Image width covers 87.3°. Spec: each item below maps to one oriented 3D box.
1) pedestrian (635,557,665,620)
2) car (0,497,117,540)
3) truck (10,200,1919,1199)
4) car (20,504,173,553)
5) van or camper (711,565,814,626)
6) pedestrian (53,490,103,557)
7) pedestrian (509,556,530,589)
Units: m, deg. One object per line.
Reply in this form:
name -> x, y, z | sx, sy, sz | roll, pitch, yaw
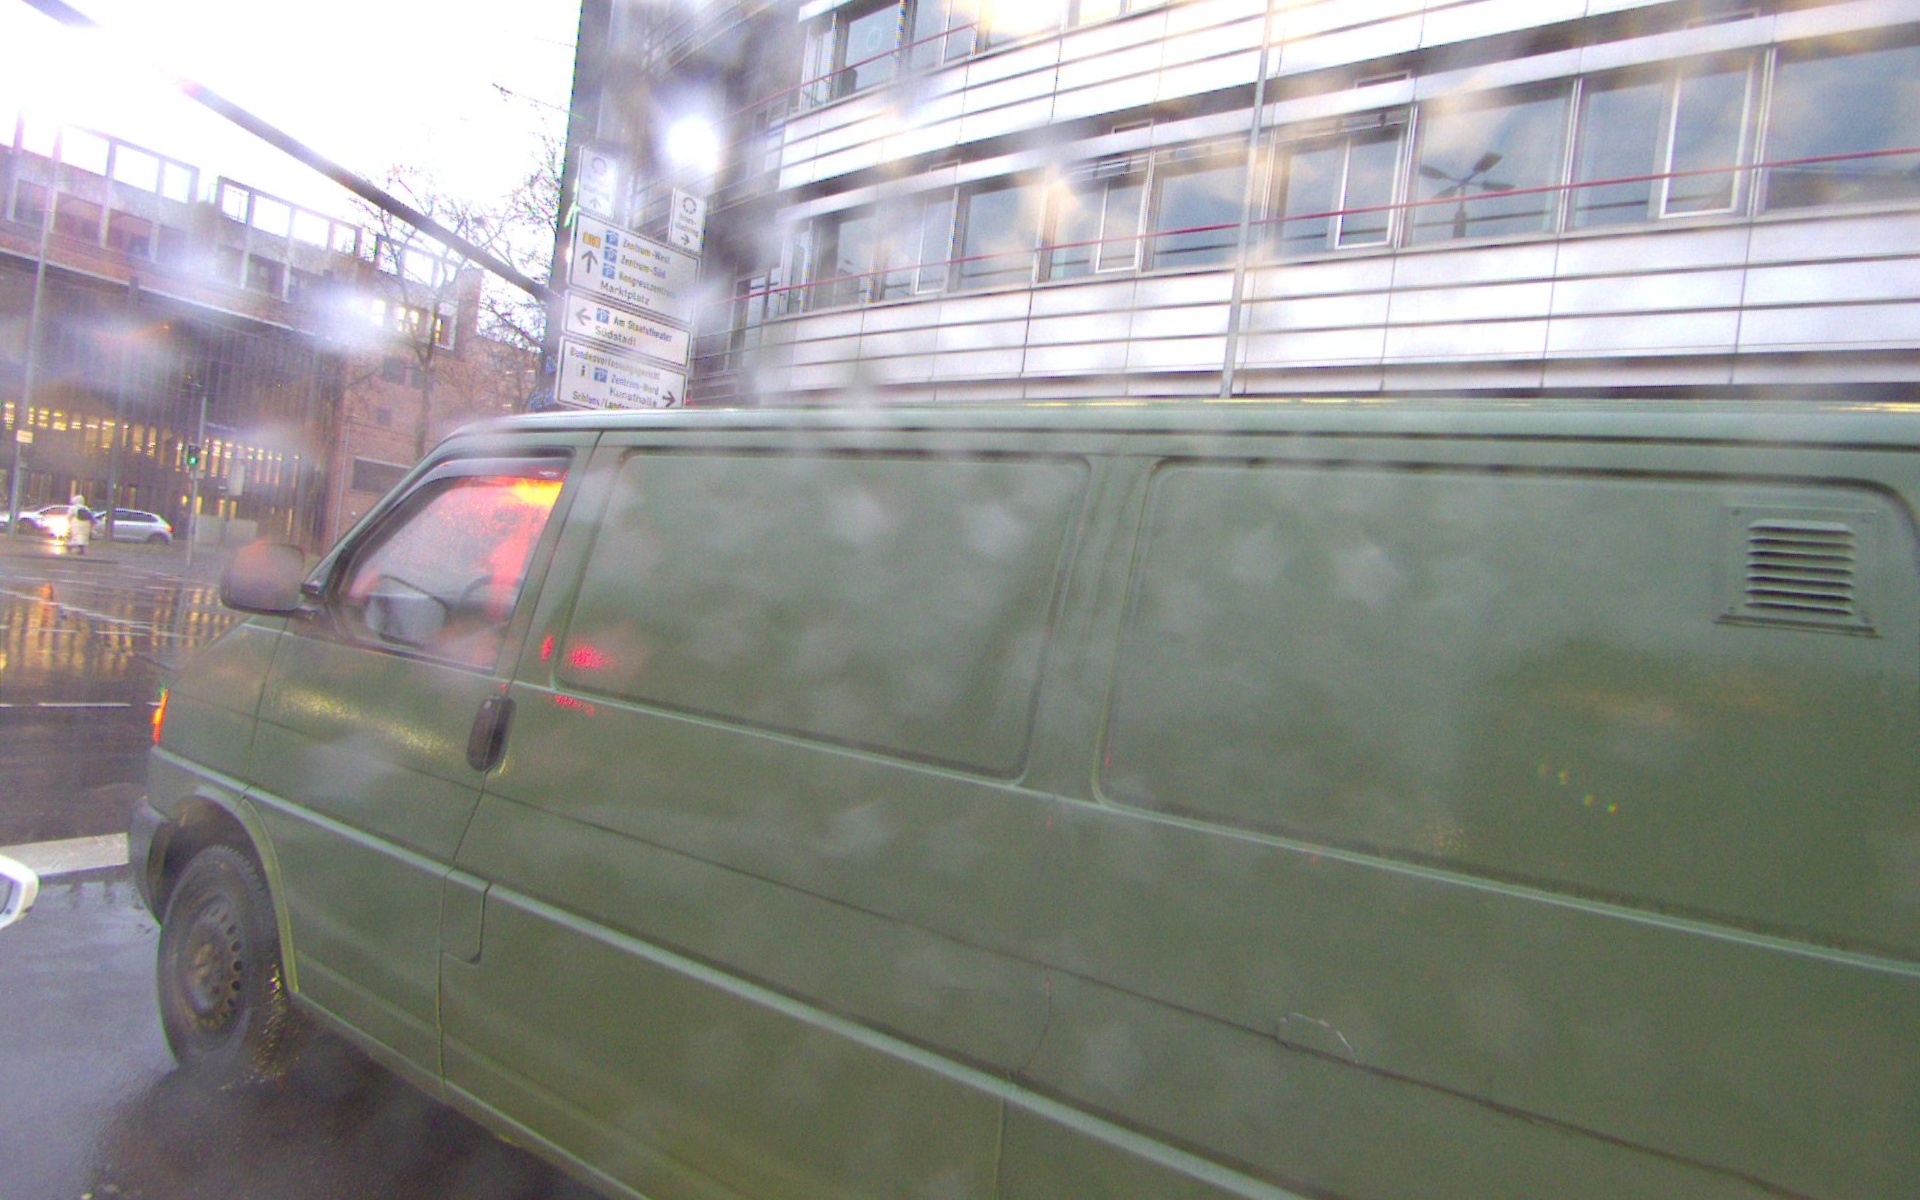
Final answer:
pedestrian -> -9.450, -0.355, 30.686 | 0.640, 1.833, 0.798 | 6, 1, -12
car -> -39.793, -3.579, 44.039 | 1.781, 1.326, 3.993 | 7, -1, 23
truck -> -0.343, 0.478, 2.741 | 4.539, 1.939, 1.909 | 7, -2, 30
car -> -32.730, -2.674, 38.270 | 1.782, 1.358, 3.989 | 7, 1, 24
van or camper -> -7.620, -0.116, 39.281 | 1.806, 1.952, 4.751 | 7, -1, 16
pedestrian -> -25.941, -2.244, 29.596 | 0.721, 1.809, 0.736 | 7, 1, 18
pedestrian -> -19.667, -1.224, 44.912 | 0.470, 1.381, 0.606 | 7, 1, 30
